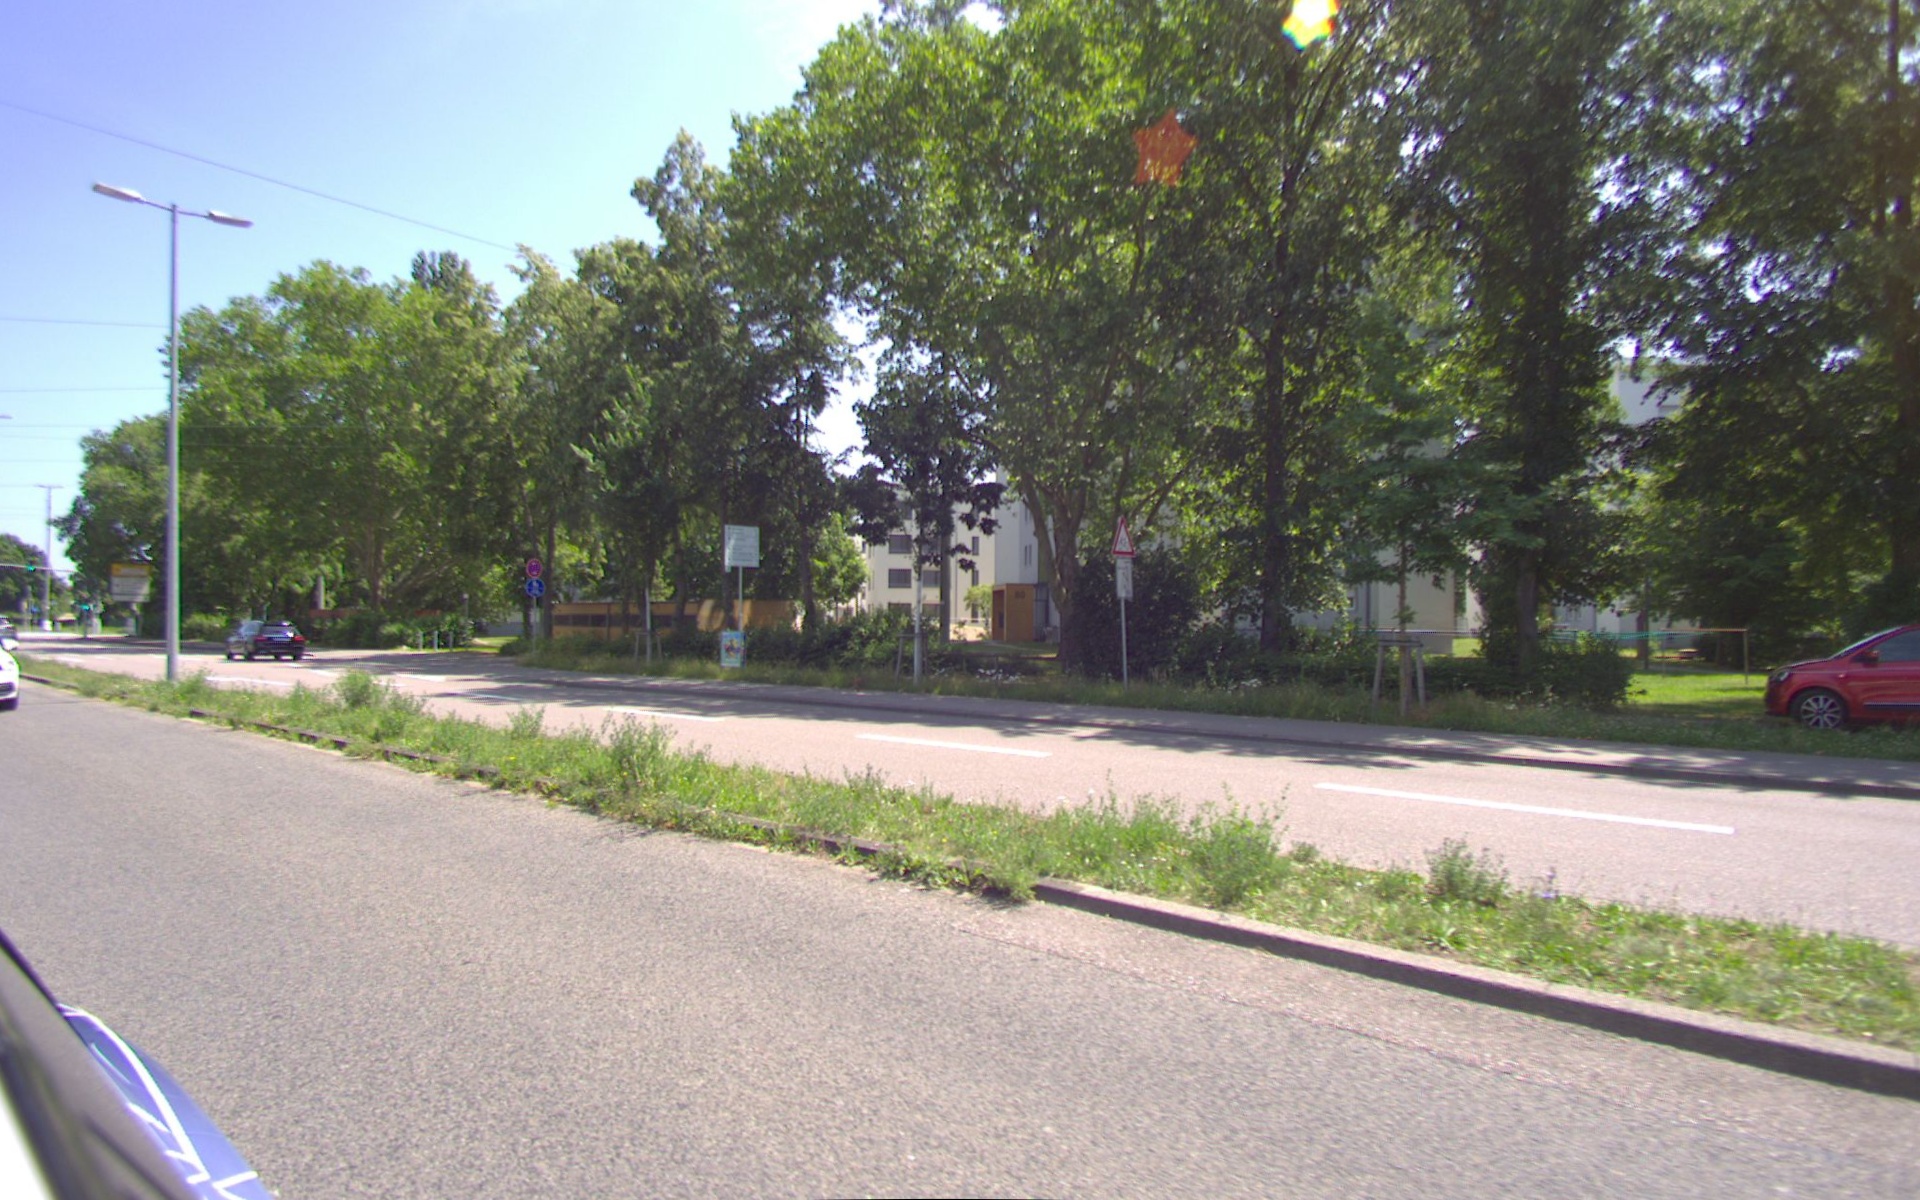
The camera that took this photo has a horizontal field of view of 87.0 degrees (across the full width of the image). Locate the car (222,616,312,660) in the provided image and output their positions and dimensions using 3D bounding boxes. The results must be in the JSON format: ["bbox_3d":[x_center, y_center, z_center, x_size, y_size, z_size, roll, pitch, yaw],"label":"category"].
[{"bbox_3d":[-26.099,1.423,38.073,4.634,1.520,1.721,-1,-4,42],"label":"car"}]

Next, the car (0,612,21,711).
[{"bbox_3d":[-16.389,0.947,15.996,4.108,1.479,1.750,-1,0,40],"label":"car"}]

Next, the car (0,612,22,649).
[{"bbox_3d":[-46.085,1.435,48.064,3.997,1.652,1.793,0,0,40],"label":"car"}]

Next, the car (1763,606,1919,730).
[{"bbox_3d":[13.315,0.904,13.513,3.998,1.597,1.973,-1,-2,41],"label":"car"}]
